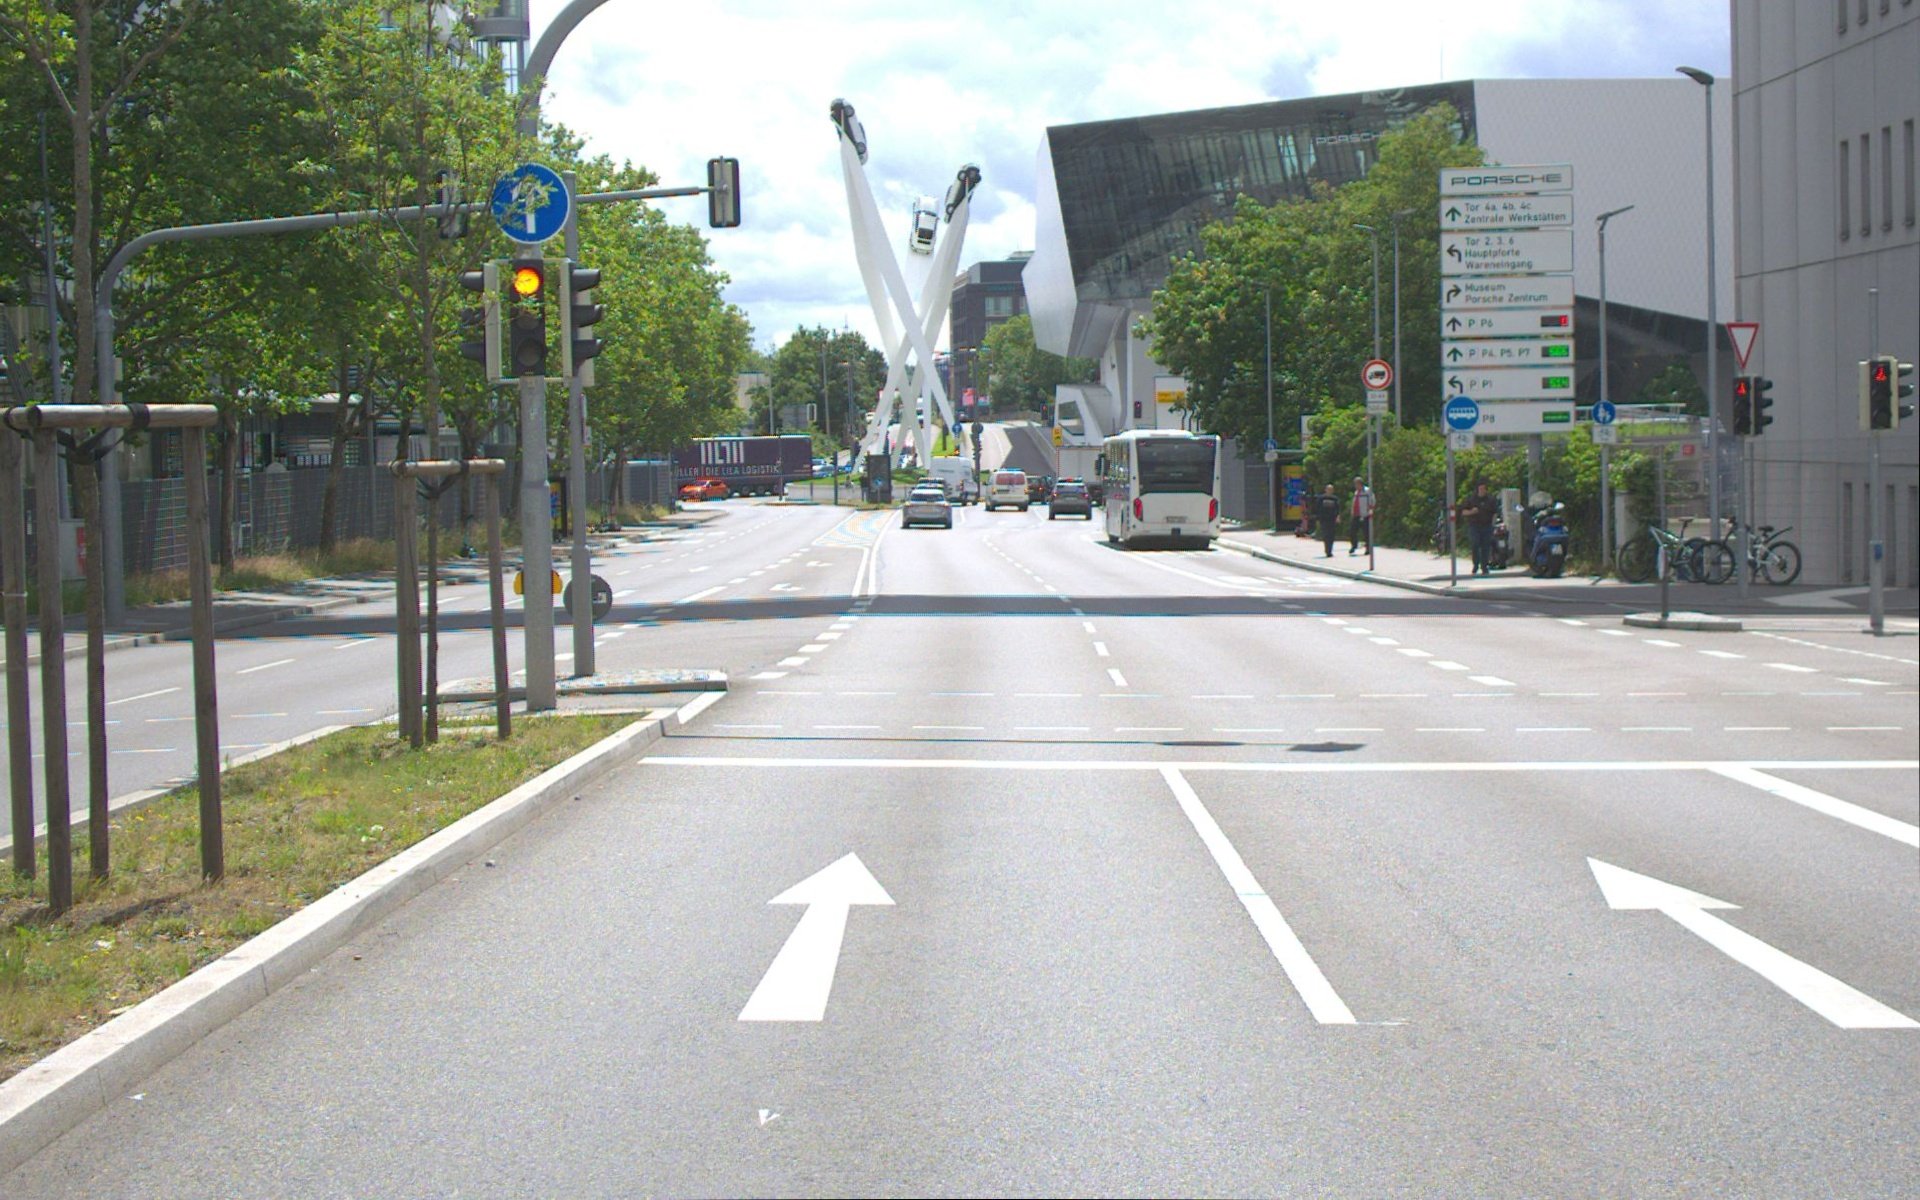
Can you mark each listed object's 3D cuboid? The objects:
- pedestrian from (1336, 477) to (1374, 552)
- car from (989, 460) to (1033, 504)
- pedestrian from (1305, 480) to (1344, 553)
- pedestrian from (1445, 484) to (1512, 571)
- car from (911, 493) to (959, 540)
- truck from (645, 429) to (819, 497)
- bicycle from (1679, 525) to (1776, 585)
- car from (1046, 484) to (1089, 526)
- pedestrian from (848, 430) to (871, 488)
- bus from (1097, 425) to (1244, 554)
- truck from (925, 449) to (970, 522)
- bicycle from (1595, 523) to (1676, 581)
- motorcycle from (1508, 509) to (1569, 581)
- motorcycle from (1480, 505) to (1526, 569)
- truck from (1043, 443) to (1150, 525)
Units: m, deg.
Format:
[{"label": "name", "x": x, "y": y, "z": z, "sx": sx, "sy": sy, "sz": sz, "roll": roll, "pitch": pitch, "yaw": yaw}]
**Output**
[{"label": "pedestrian", "x": 9.203, "y": -1.996, "z": 80.123, "sx": 0.820, "sy": 1.735, "sz": 0.637, "roll": 0, "pitch": 1, "yaw": 13}, {"label": "car", "x": 2.514, "y": -5.819, "z": 170.054, "sx": 1.993, "sy": 2.007, "sz": 4.000, "roll": 1, "pitch": 0, "yaw": -1}, {"label": "pedestrian", "x": 8.508, "y": -1.961, "z": 80.339, "sx": 0.820, "sy": 1.701, "sz": 0.881, "roll": 0, "pitch": 1, "yaw": 0}, {"label": "pedestrian", "x": 9.696, "y": -1.357, "z": 64.236, "sx": 0.849, "sy": 1.619, "sz": 0.954, "roll": 1, "pitch": 2, "yaw": 42}, {"label": "car", "x": -0.920, "y": -3.097, "z": 127.542, "sx": 1.738, "sy": 1.735, "sz": 3.691, "roll": 0, "pitch": 1, "yaw": 0}, {"label": "truck", "x": -15.995, "y": -9.576, "z": 241.924, "sx": 12.129, "sy": 4.309, "sz": 3.574, "roll": 1, "pitch": 0, "yaw": -36}, {"label": "bicycle", "x": 12.195, "y": -0.727, "z": 54.653, "sx": 0.397, "sy": 0.933, "sz": 1.929, "roll": -1, "pitch": 2, "yaw": -25}, {"label": "car", "x": 4.587, "y": -4.058, "z": 146.764, "sx": 1.738, "sy": 1.735, "sz": 3.691, "roll": 0, "pitch": 1, "yaw": 0}, {"label": "pedestrian", "x": -6.337, "y": -8.854, "z": 216.287, "sx": 1.416, "sy": 3.588, "sz": 1.283, "roll": 0, "pitch": 1, "yaw": -1}, {"label": "bus", "x": 6.000, "y": -3.175, "z": 99.772, "sx": 3.452, "sy": 3.531, "sz": 10.607, "roll": 0, "pitch": 2, "yaw": -1}, {"label": "truck", "x": -0.646, "y": -6.142, "z": 185.641, "sx": 2.392, "sy": 3.884, "sz": 6.177, "roll": 0, "pitch": 1, "yaw": 0}, {"label": "bicycle", "x": 11.181, "y": -0.796, "z": 56.954, "sx": 0.397, "sy": 0.933, "sz": 1.929, "roll": 0, "pitch": 2, "yaw": -19}, {"label": "motorcycle", "x": 10.231, "y": -0.977, "z": 60.855, "sx": 0.706, "sy": 1.199, "sz": 2.024, "roll": -2, "pitch": 2, "yaw": 0}, {"label": "motorcycle", "x": 10.827, "y": -1.265, "z": 68.633, "sx": 0.574, "sy": 1.199, "sz": 2.024, "roll": -2, "pitch": 2, "yaw": 0}, {"label": "truck", "x": 7.507, "y": -6.294, "z": 187.409, "sx": 3.455, "sy": 4.376, "sz": 9.412, "roll": 0, "pitch": 2, "yaw": 18}]
